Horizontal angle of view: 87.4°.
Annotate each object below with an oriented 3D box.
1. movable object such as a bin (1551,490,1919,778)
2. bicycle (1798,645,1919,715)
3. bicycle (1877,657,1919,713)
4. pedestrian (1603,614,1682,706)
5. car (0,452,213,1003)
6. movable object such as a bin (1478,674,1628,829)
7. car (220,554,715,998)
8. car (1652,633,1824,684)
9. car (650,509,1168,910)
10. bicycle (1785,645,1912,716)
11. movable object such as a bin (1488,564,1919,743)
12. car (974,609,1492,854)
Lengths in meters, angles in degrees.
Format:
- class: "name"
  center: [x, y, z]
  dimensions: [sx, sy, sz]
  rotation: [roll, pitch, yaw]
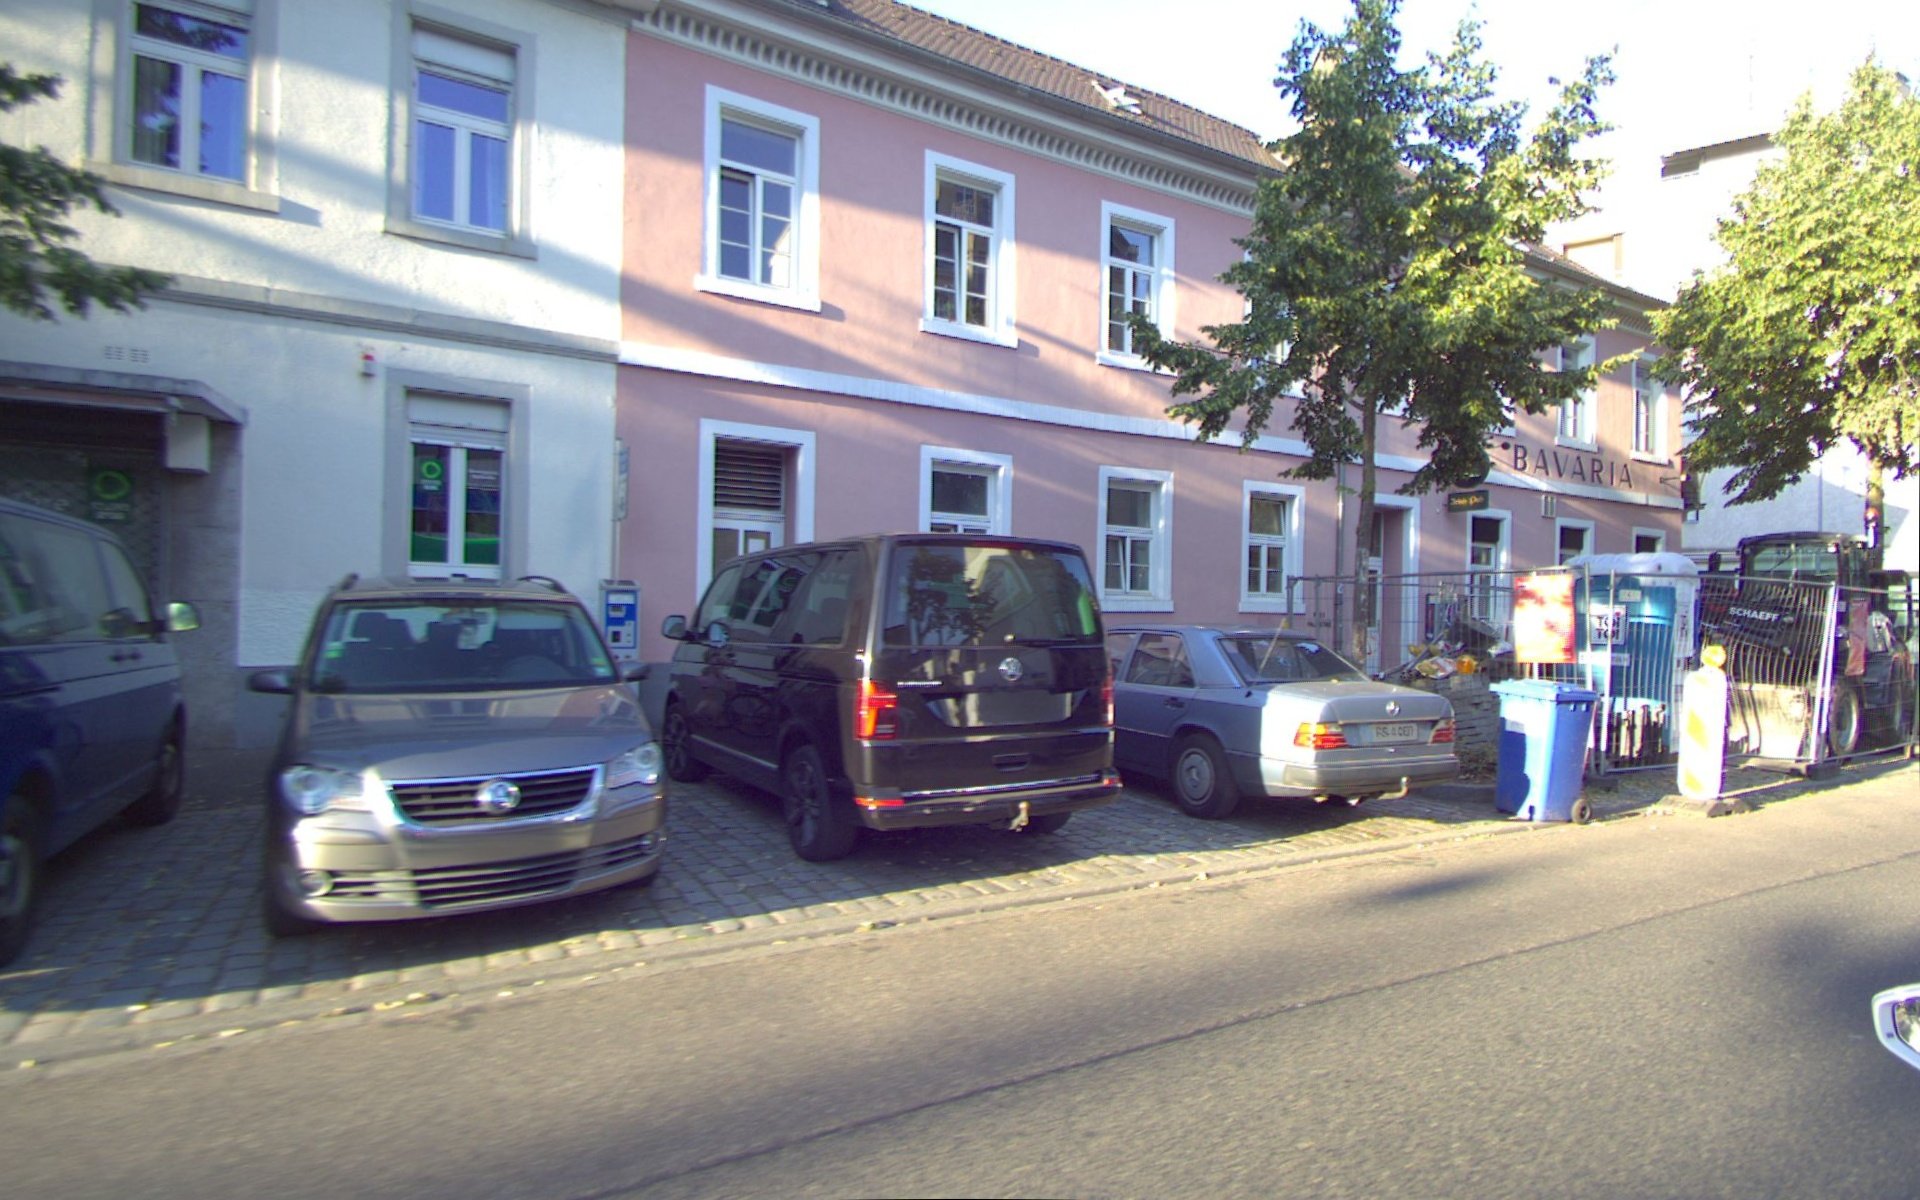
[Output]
- class: "movable object such as a bin"
  center: [10.429, 0.421, 12.953]
  dimensions: [5.241, 3.008, 2.612]
  rotation: [2, -1, -30]
- class: "bicycle"
  center: [16.769, 1.470, 18.733]
  dimensions: [0.438, 1.164, 1.677]
  rotation: [3, 0, -26]
- class: "bicycle"
  center: [18.002, 1.612, 18.682]
  dimensions: [0.439, 0.993, 1.320]
  rotation: [3, 0, -26]
- class: "pedestrian"
  center: [13.745, 1.198, 20.235]
  dimensions: [1.021, 1.789, 0.817]
  rotation: [1, 0, -10]
- class: "car"
  center: [-5.252, 0.444, 4.790]
  dimensions: [2.043, 2.002, 4.464]
  rotation: [1, 0, -28]
- class: "movable object such as a bin"
  center: [4.730, 1.171, 8.029]
  dimensions: [0.872, 1.119, 0.687]
  rotation: [1, -2, -28]
- class: "car"
  center: [-2.923, 0.651, 6.013]
  dimensions: [1.837, 1.658, 4.112]
  rotation: [1, 0, -28]
- class: "car"
  center: [24.290, 1.782, 31.518]
  dimensions: [4.142, 1.398, 1.992]
  rotation: [1, -1, 38]
- class: "car"
  center: [-0.741, 0.537, 7.446]
  dimensions: [1.943, 2.002, 4.460]
  rotation: [1, 0, -31]
- class: "bicycle"
  center: [16.218, 1.447, 18.379]
  dimensions: [0.438, 1.164, 1.677]
  rotation: [3, 0, -26]
- class: "movable object such as a bin"
  center: [11.894, 0.771, 16.117]
  dimensions: [5.638, 2.528, 2.315]
  rotation: [1, -1, 14]
- class: "car"
  center: [1.994, 0.874, 8.889]
  dimensions: [1.868, 1.489, 4.578]
  rotation: [1, 0, -26]
